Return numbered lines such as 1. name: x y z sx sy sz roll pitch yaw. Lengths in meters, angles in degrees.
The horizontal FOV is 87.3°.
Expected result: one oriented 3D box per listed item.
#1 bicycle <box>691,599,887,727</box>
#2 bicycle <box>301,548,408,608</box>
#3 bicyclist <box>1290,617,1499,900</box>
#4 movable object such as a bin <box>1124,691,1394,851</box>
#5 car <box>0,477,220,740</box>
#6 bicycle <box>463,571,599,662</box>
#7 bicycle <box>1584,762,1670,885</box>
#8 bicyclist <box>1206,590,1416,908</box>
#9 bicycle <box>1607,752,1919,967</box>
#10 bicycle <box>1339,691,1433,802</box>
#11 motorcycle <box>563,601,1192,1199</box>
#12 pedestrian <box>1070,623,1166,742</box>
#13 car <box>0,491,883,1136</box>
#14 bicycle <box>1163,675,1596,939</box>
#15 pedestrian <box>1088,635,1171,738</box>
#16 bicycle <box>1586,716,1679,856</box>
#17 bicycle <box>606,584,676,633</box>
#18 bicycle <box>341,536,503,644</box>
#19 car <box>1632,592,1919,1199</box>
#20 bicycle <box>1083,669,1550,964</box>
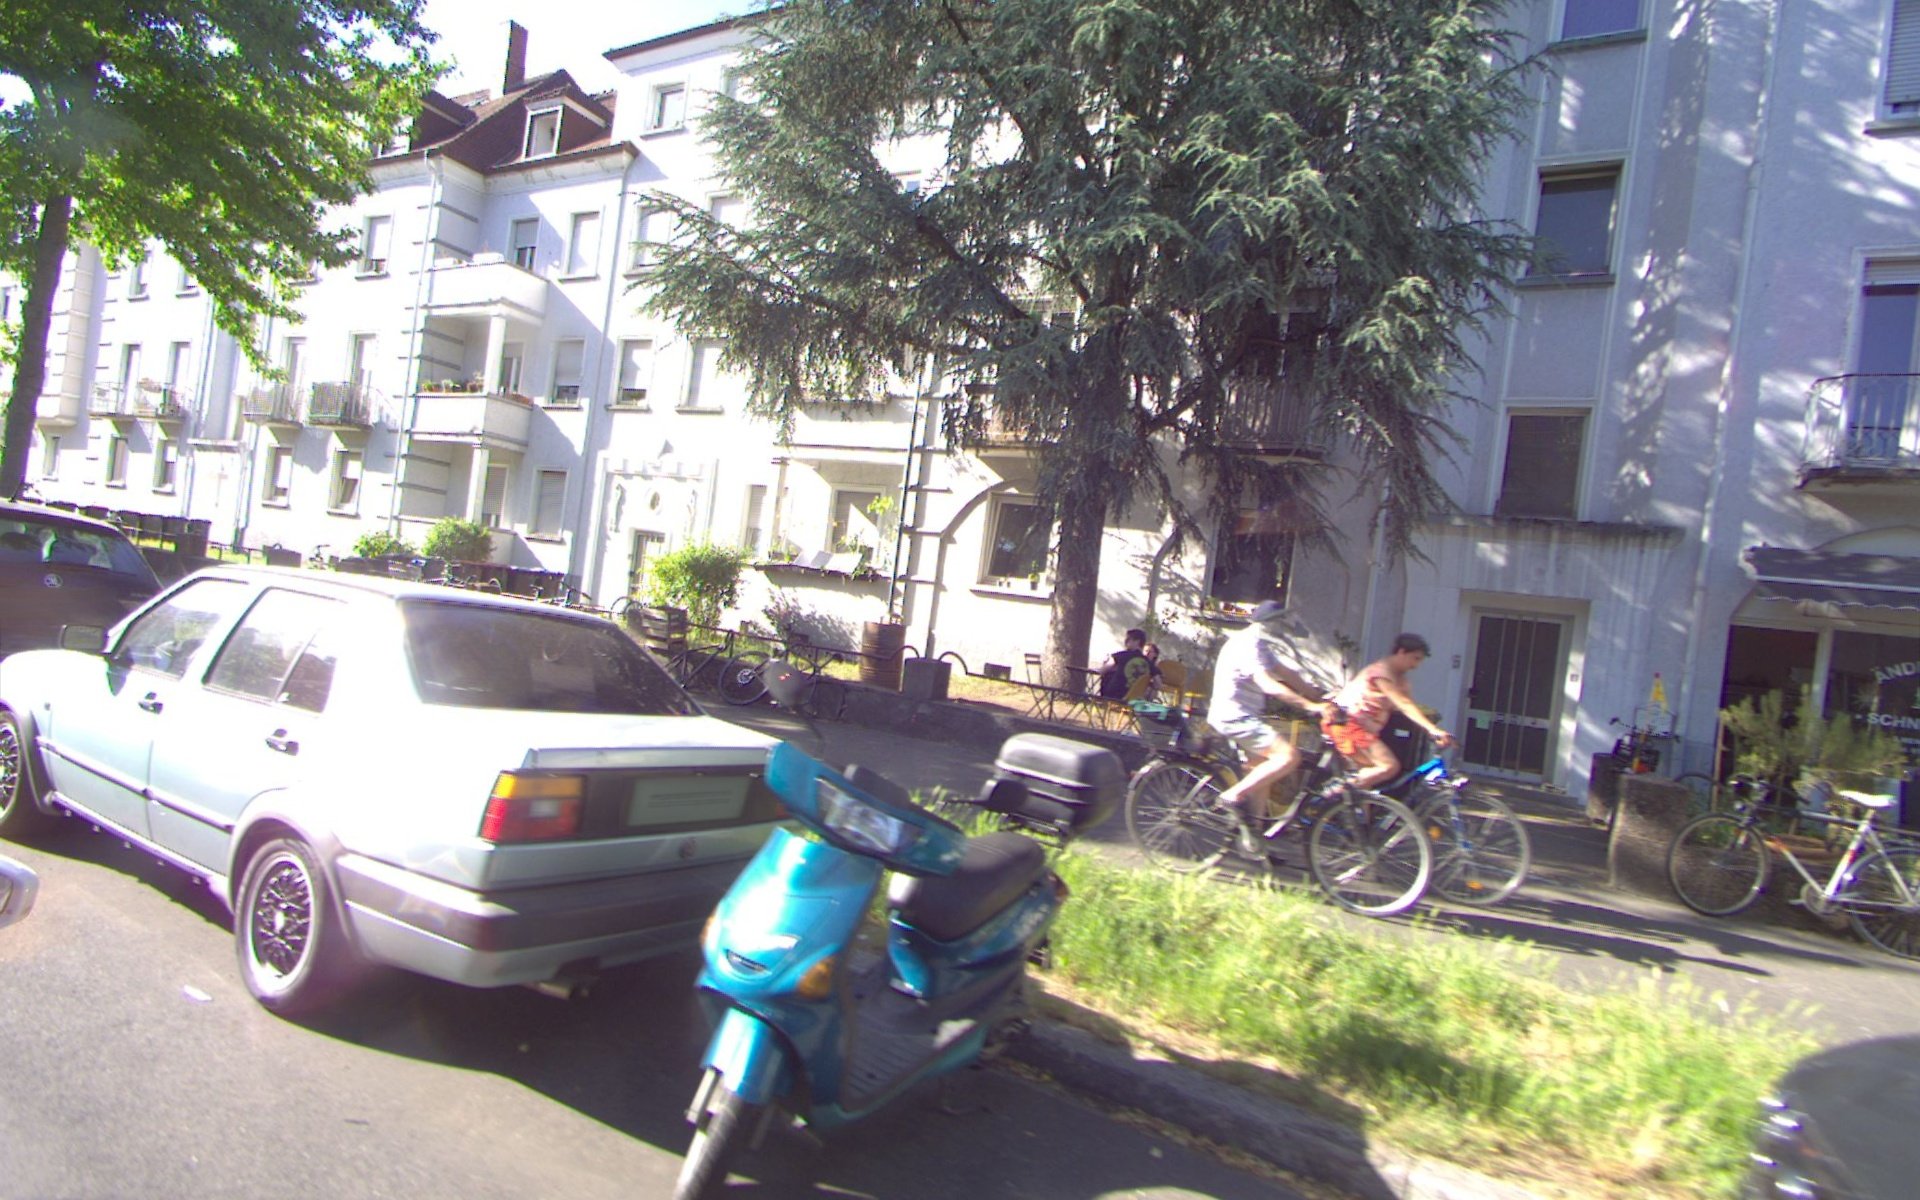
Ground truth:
1. bicycle: -1.928 0.691 11.288 1.965 1.128 0.806 7 -1 27
2. bicycle: -11.113 -0.386 18.506 0.492 0.984 1.580 8 2 30
3. bicyclist: 2.791 0.966 6.481 1.004 1.572 0.678 7 0 27
4. movable object such as a bin: 2.420 1.354 8.247 1.216 0.915 1.646 8 -1 -39
5. car: -7.465 -0.168 7.271 4.366 1.558 1.697 8 -2 30
6. bicycle: -5.779 0.209 13.508 1.871 0.969 0.596 7 1 30
7. bicycle: 5.458 1.791 8.259 0.463 0.766 1.364 7 0 33
8. bicyclist: 2.077 0.827 5.923 0.905 1.629 0.678 7 0 27
9. bicycle: 5.471 1.683 6.668 1.872 0.987 0.582 7 1 32
10. bicycle: 5.002 1.661 11.746 0.573 1.114 1.899 8 0 33
11. motorcycle: 0.001 0.854 3.257 0.676 1.439 2.357 7 -1 29
12. pedestrian: 1.704 0.885 10.842 0.743 1.156 0.510 7 -1 32
13. car: -2.727 0.515 4.470 4.386 1.470 1.756 7 -3 30
14. bicycle: 2.636 1.237 6.544 2.361 1.167 0.685 7 0 27
15. pedestrian: 2.094 1.062 12.405 0.743 1.156 0.511 7 -1 28
16. bicycle: 6.549 1.753 9.840 0.573 1.114 1.899 8 0 33
17. bicycle: -6.920 0.194 21.881 0.467 0.984 1.582 7 2 23
18. bicycle: -7.831 -0.151 14.622 2.192 1.272 0.841 7 -1 27
19. car: 3.530 1.210 0.592 5.010 1.670 1.931 7 -3 32
20. bicycle: 2.018 1.156 5.934 2.361 1.167 0.685 7 0 27
